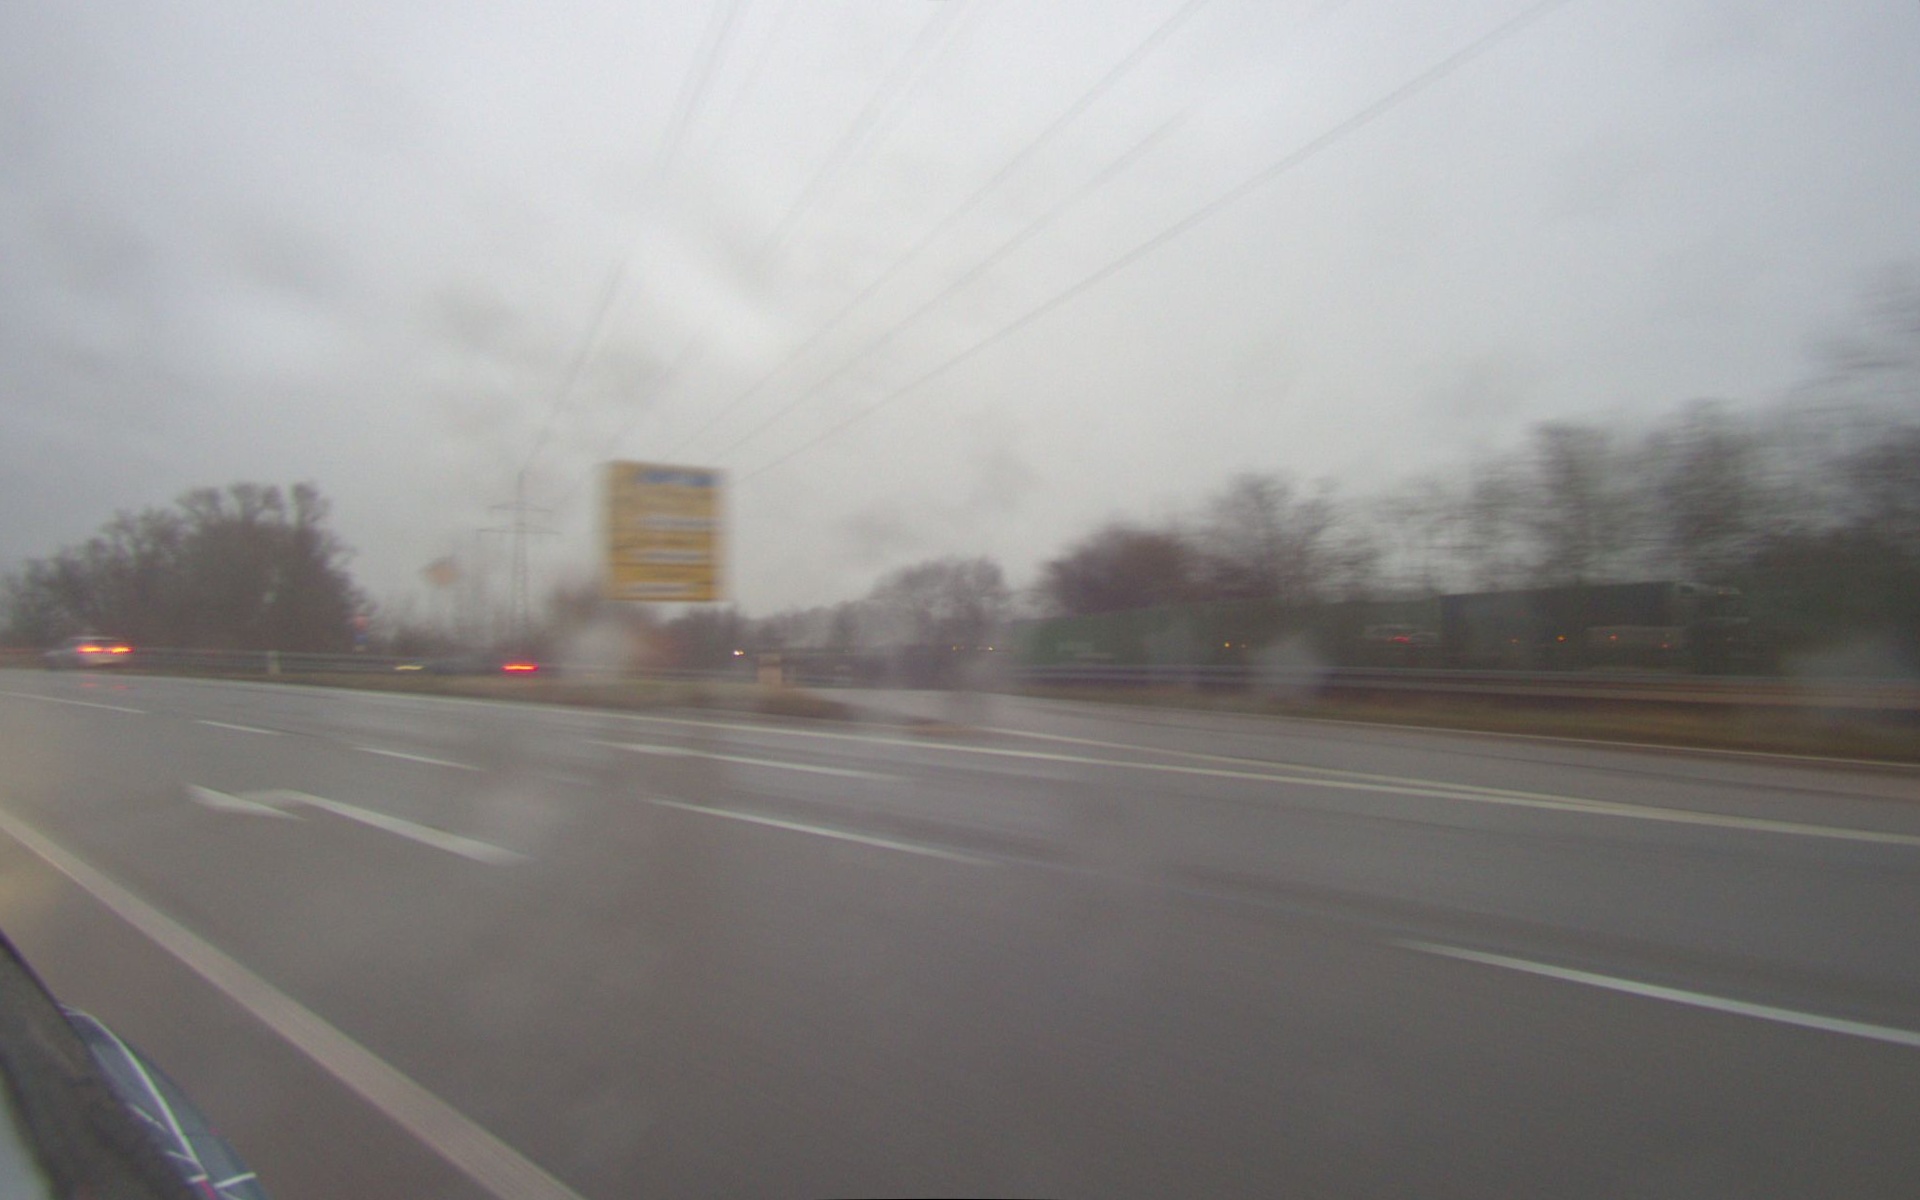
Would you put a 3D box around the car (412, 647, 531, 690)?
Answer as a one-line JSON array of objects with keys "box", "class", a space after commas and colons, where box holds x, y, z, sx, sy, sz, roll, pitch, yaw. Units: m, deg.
[{"box": [-20.214, 2.861, 42.090, 4.212, 1.689, 2.006, 1, -5, -19], "class": "car"}]

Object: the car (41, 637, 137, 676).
[{"box": [-39.656, 2.601, 46.098, 3.838, 1.645, 1.903, -3, -5, 26], "class": "car"}]

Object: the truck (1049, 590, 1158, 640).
[{"box": [14.086, 1.450, 101.491, 3.229, 4.645, 13.919, 0, 0, -28], "class": "truck"}]

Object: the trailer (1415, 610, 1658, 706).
[{"box": [34.588, 3.243, 61.783, 3.255, 5.142, 13.272, 0, 0, -27], "class": "trailer"}]

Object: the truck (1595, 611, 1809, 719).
[{"box": [38.913, 3.177, 53.480, 3.229, 5.168, 8.546, 0, 0, -28], "class": "truck"}]
